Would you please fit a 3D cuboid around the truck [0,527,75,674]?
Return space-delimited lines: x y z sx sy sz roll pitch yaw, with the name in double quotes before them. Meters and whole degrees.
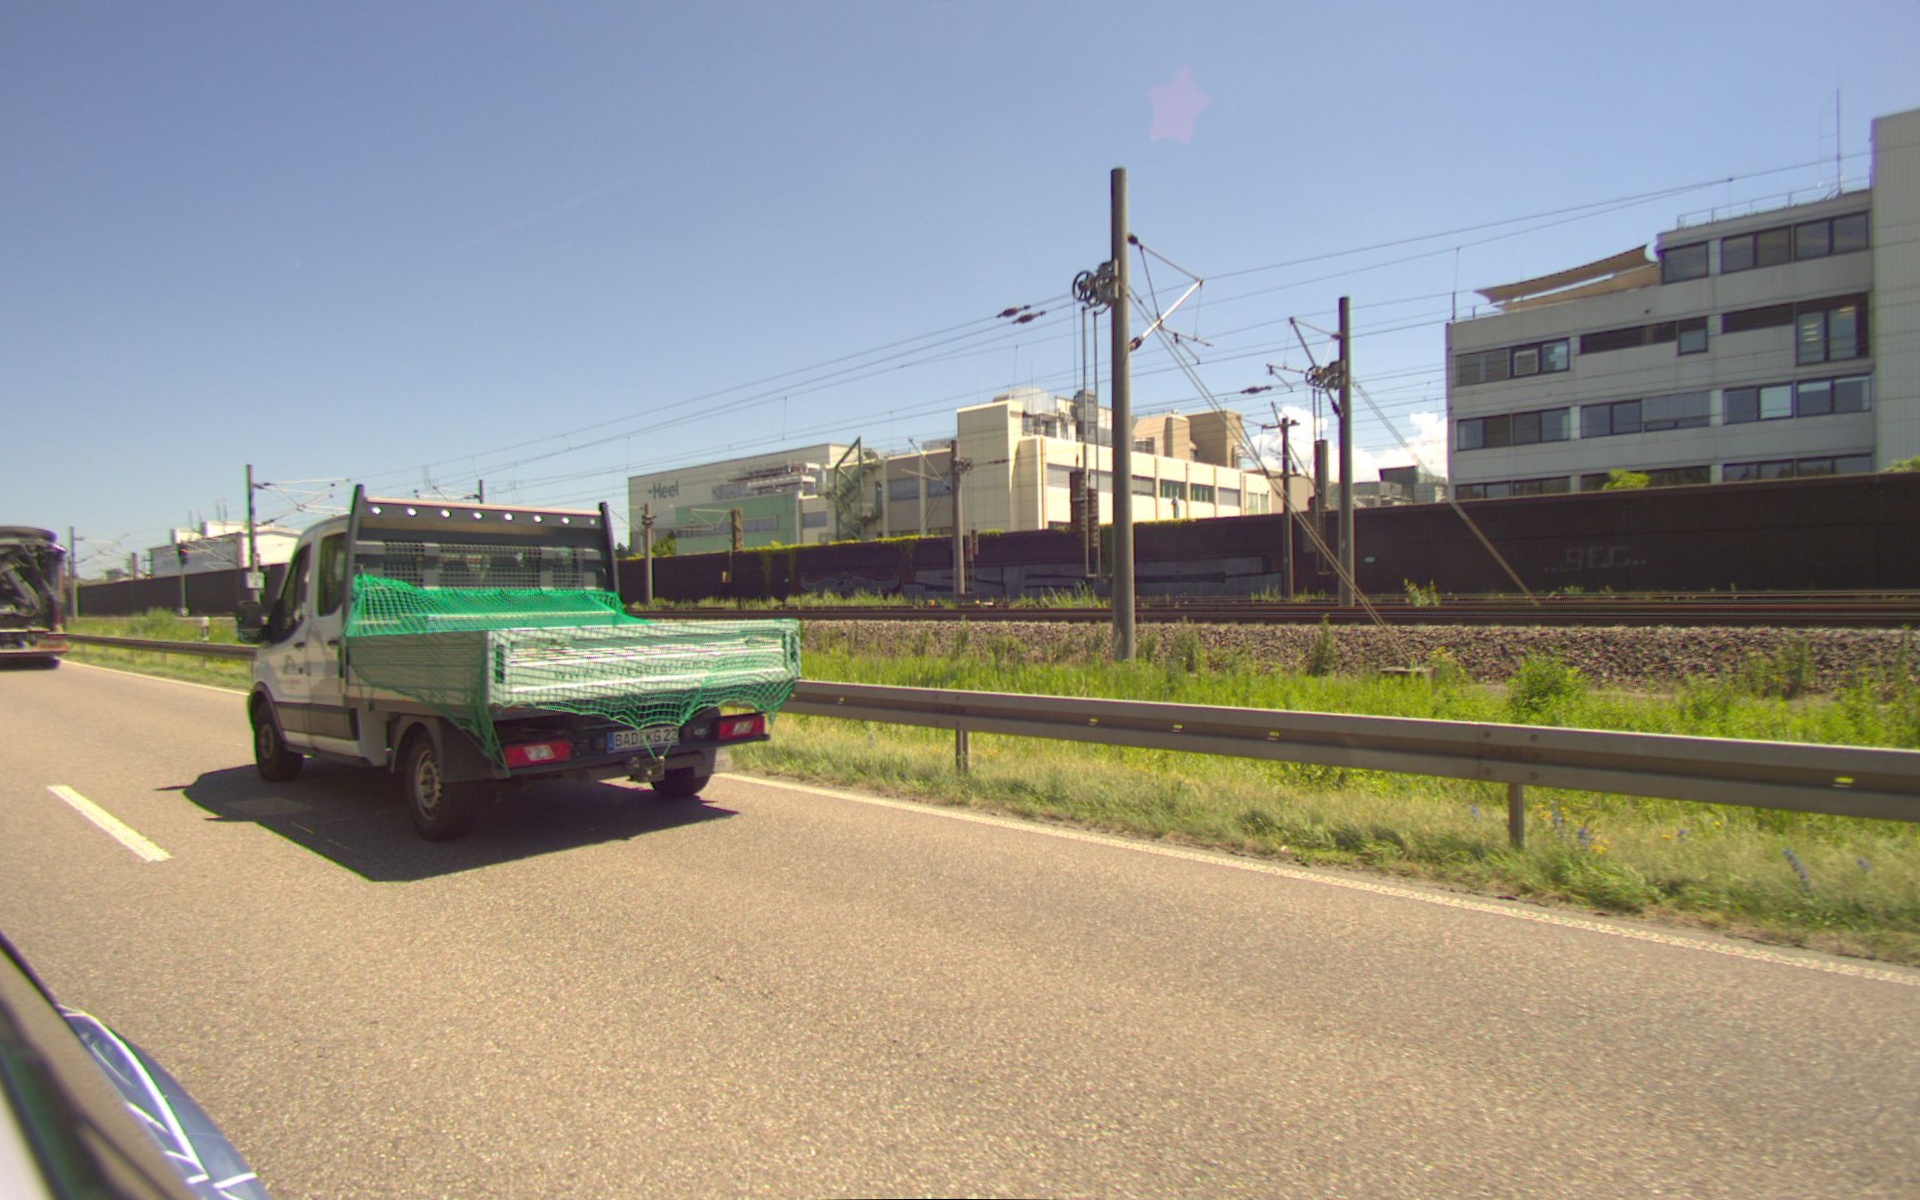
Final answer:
"truck" -27.952 0.109 28.756 10.969 3.654 2.631 -1 -1 40

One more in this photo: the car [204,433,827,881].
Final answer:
"car" -3.968 0.325 8.143 6.234 2.304 2.237 -1 0 42
